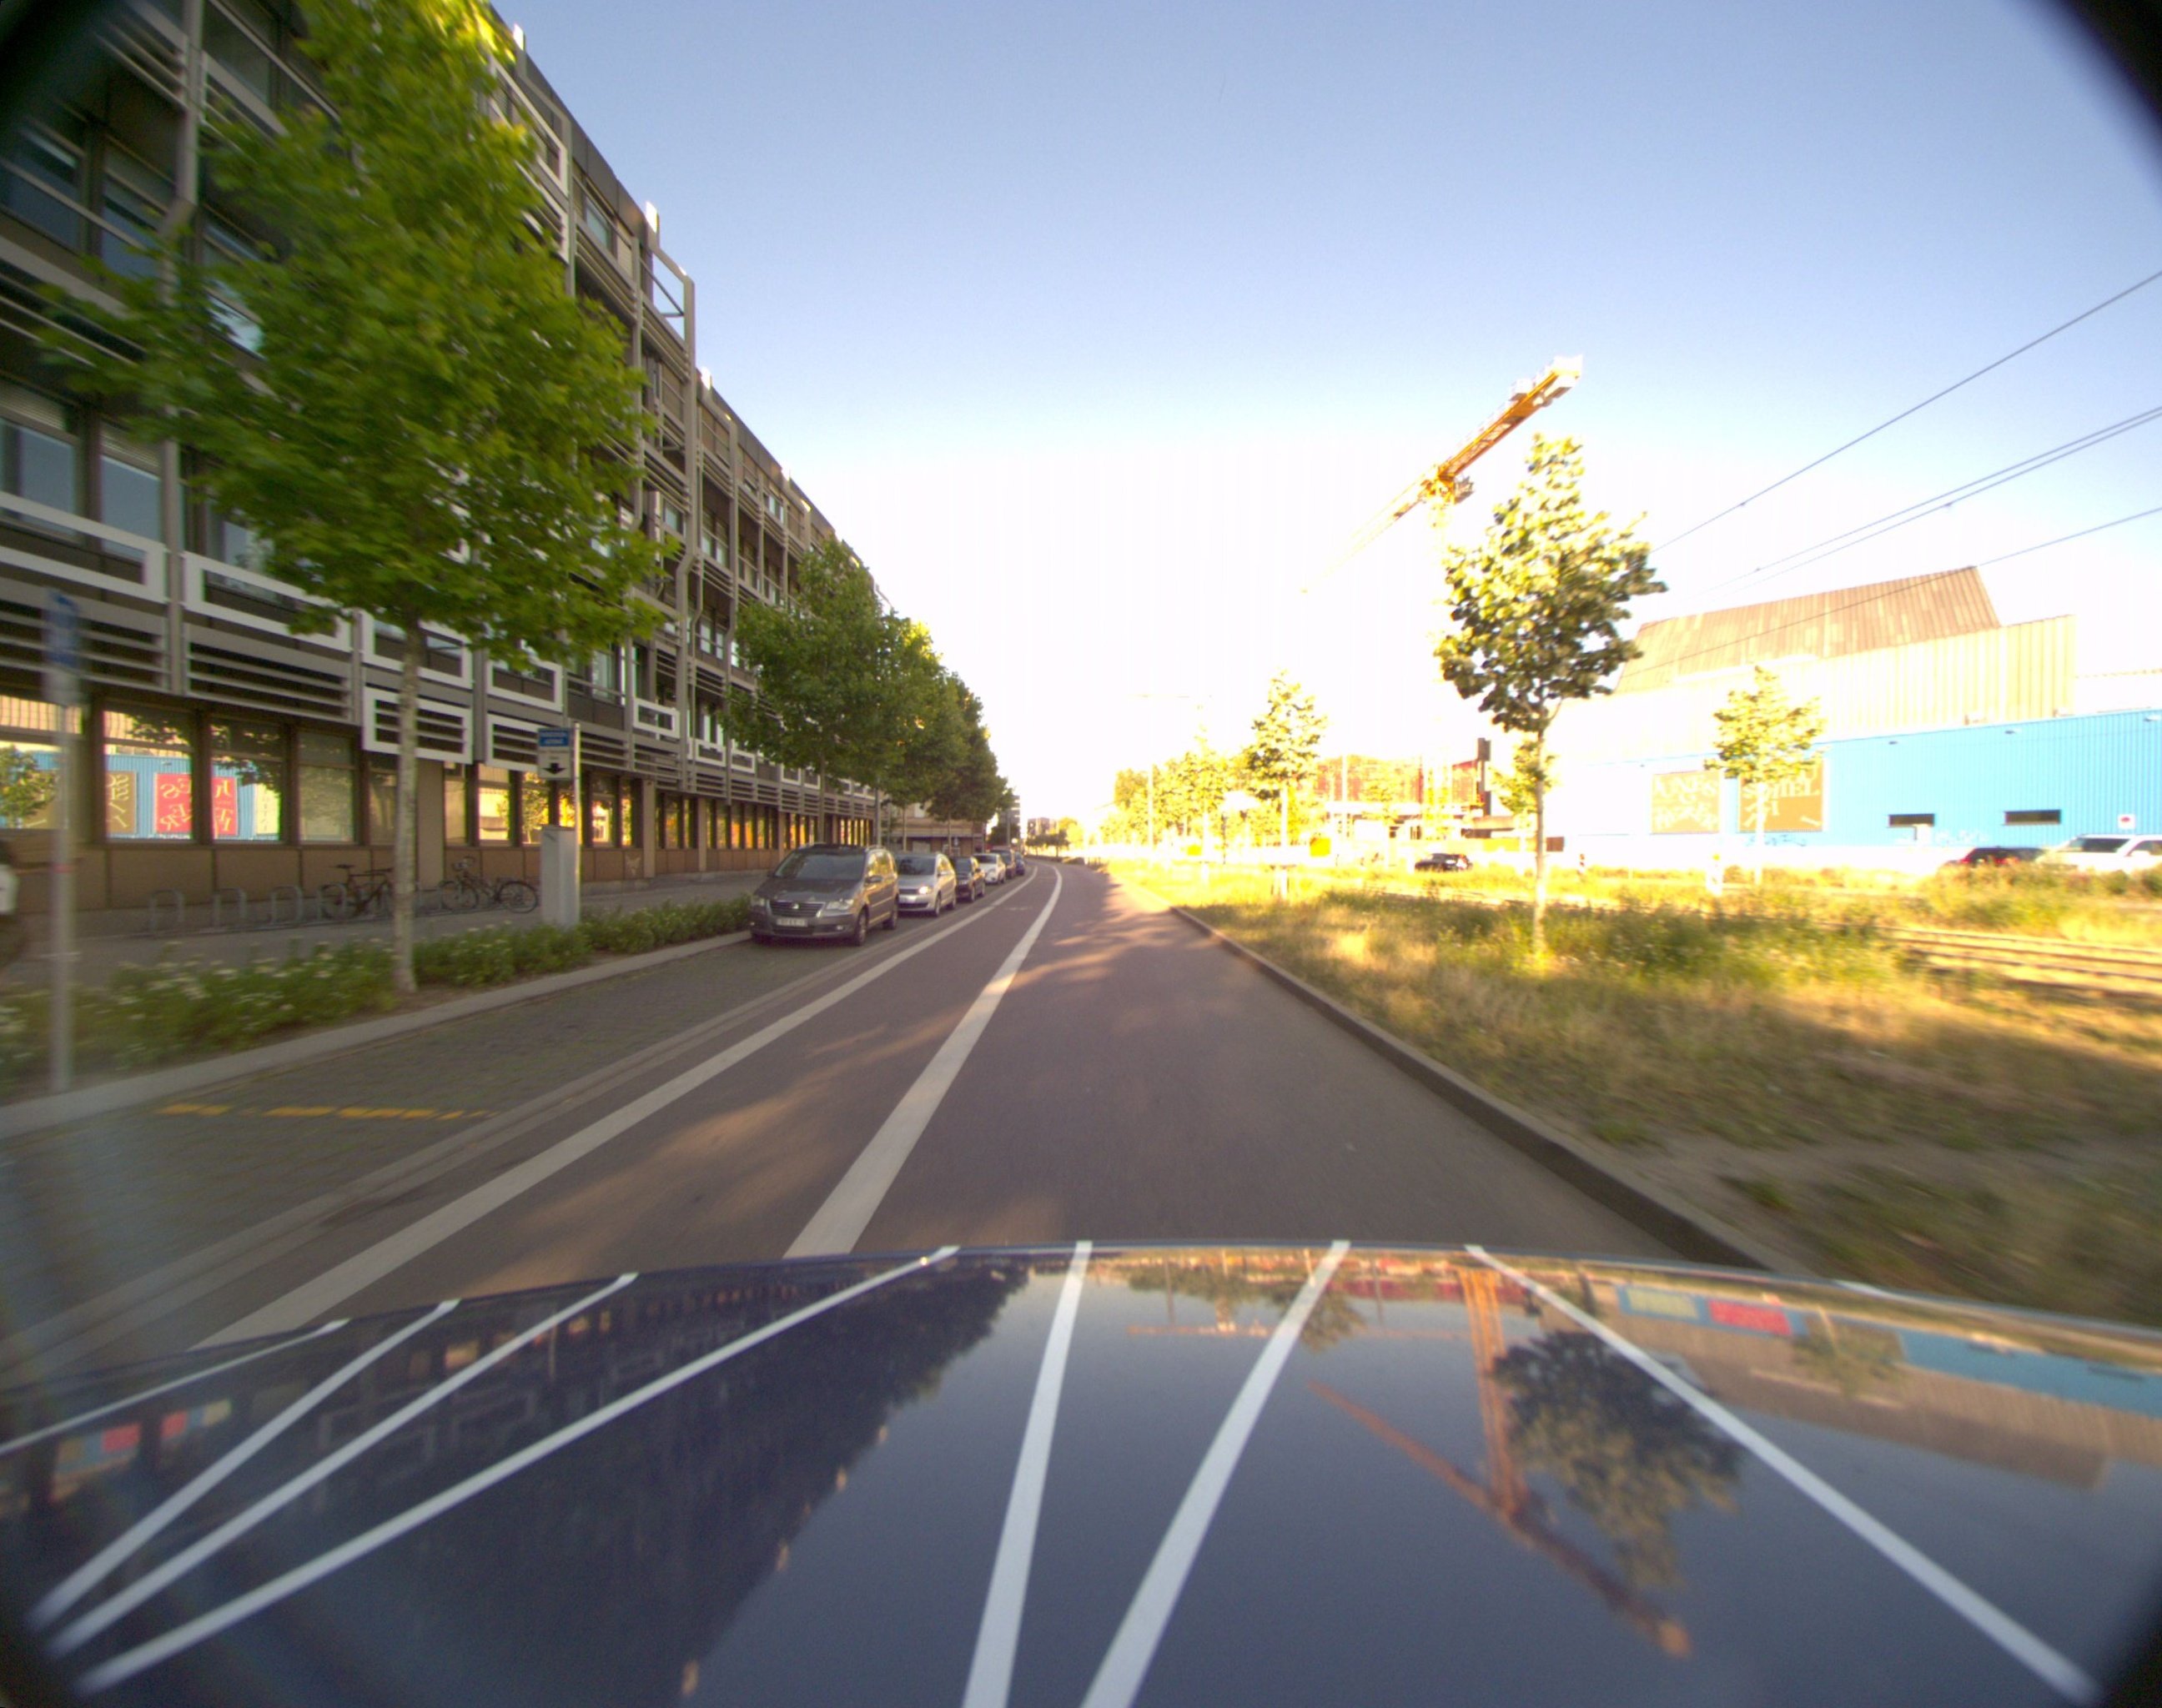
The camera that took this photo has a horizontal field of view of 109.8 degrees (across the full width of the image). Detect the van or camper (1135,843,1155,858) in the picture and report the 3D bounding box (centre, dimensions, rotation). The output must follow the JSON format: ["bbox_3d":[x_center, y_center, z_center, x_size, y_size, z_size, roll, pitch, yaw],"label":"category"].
[{"bbox_3d":[11.490,-0.628,137.286,2.228,2.495,7.196,2,0,-7],"label":"van or camper"}]

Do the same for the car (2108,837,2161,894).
[{"bbox_3d":[34.746,0.341,22.715,5.240,1.707,2.124,0,1,-1],"label":"car"}]

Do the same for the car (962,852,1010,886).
[{"bbox_3d":[-4.463,0.667,36.349,1.668,1.481,4.203,2,0,1],"label":"car"}]

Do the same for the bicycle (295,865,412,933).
[{"bbox_3d":[-12.153,0.748,12.708,1.630,1.076,0.392,1,1,3],"label":"bicycle"}]

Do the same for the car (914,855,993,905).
[{"bbox_3d":[-4.117,0.796,25.251,1.799,1.440,4.376,2,0,0],"label":"car"}]

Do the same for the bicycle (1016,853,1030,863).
[{"bbox_3d":[-7.289,0.523,95.549,1.758,1.098,0.507,3,1,-1],"label":"bicycle"}]

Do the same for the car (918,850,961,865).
[{"bbox_3d":[-14.538,0.325,78.262,4.276,1.442,1.861,0,2,-11],"label":"car"}]

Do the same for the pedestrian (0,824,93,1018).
[{"bbox_3d":[-9.531,0.560,6.453,0.791,1.639,1.136,1,1,1],"label":"pedestrian"}]

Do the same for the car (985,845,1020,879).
[{"bbox_3d":[-4.722,0.435,46.208,1.739,1.908,4.392,2,0,-2],"label":"car"}]

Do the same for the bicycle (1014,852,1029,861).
[{"bbox_3d":[-7.943,0.336,101.396,1.809,1.041,0.566,3,1,-1],"label":"bicycle"}]

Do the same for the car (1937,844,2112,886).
[{"bbox_3d":[34.622,0.374,27.974,3.997,1.476,2.000,0,1,-1],"label":"car"}]

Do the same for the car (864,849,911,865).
[{"bbox_3d":[-19.628,0.285,77.224,4.556,1.586,1.861,0,2,-11],"label":"car"}]

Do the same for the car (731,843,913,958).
[{"bbox_3d":[-4.421,0.697,13.766,1.732,1.678,4.514,2,0,-1],"label":"car"}]

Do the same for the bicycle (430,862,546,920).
[{"bbox_3d":[-11.724,0.723,15.047,1.905,1.086,0.392,1,1,-5],"label":"bicycle"}]

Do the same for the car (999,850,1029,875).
[{"bbox_3d":[-4.748,0.584,53.386,1.937,1.589,4.696,2,0,-6],"label":"car"}]

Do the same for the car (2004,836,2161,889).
[{"bbox_3d":[34.856,0.264,25.493,5.240,1.707,2.124,0,1,-1],"label":"car"}]

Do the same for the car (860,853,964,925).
[{"bbox_3d":[-4.252,0.807,19.742,1.732,1.612,4.215,2,0,-1],"label":"car"}]

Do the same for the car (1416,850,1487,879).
[{"bbox_3d":[21.618,0.563,44.537,1.999,1.641,4.270,0,0,-1],"label":"car"}]
